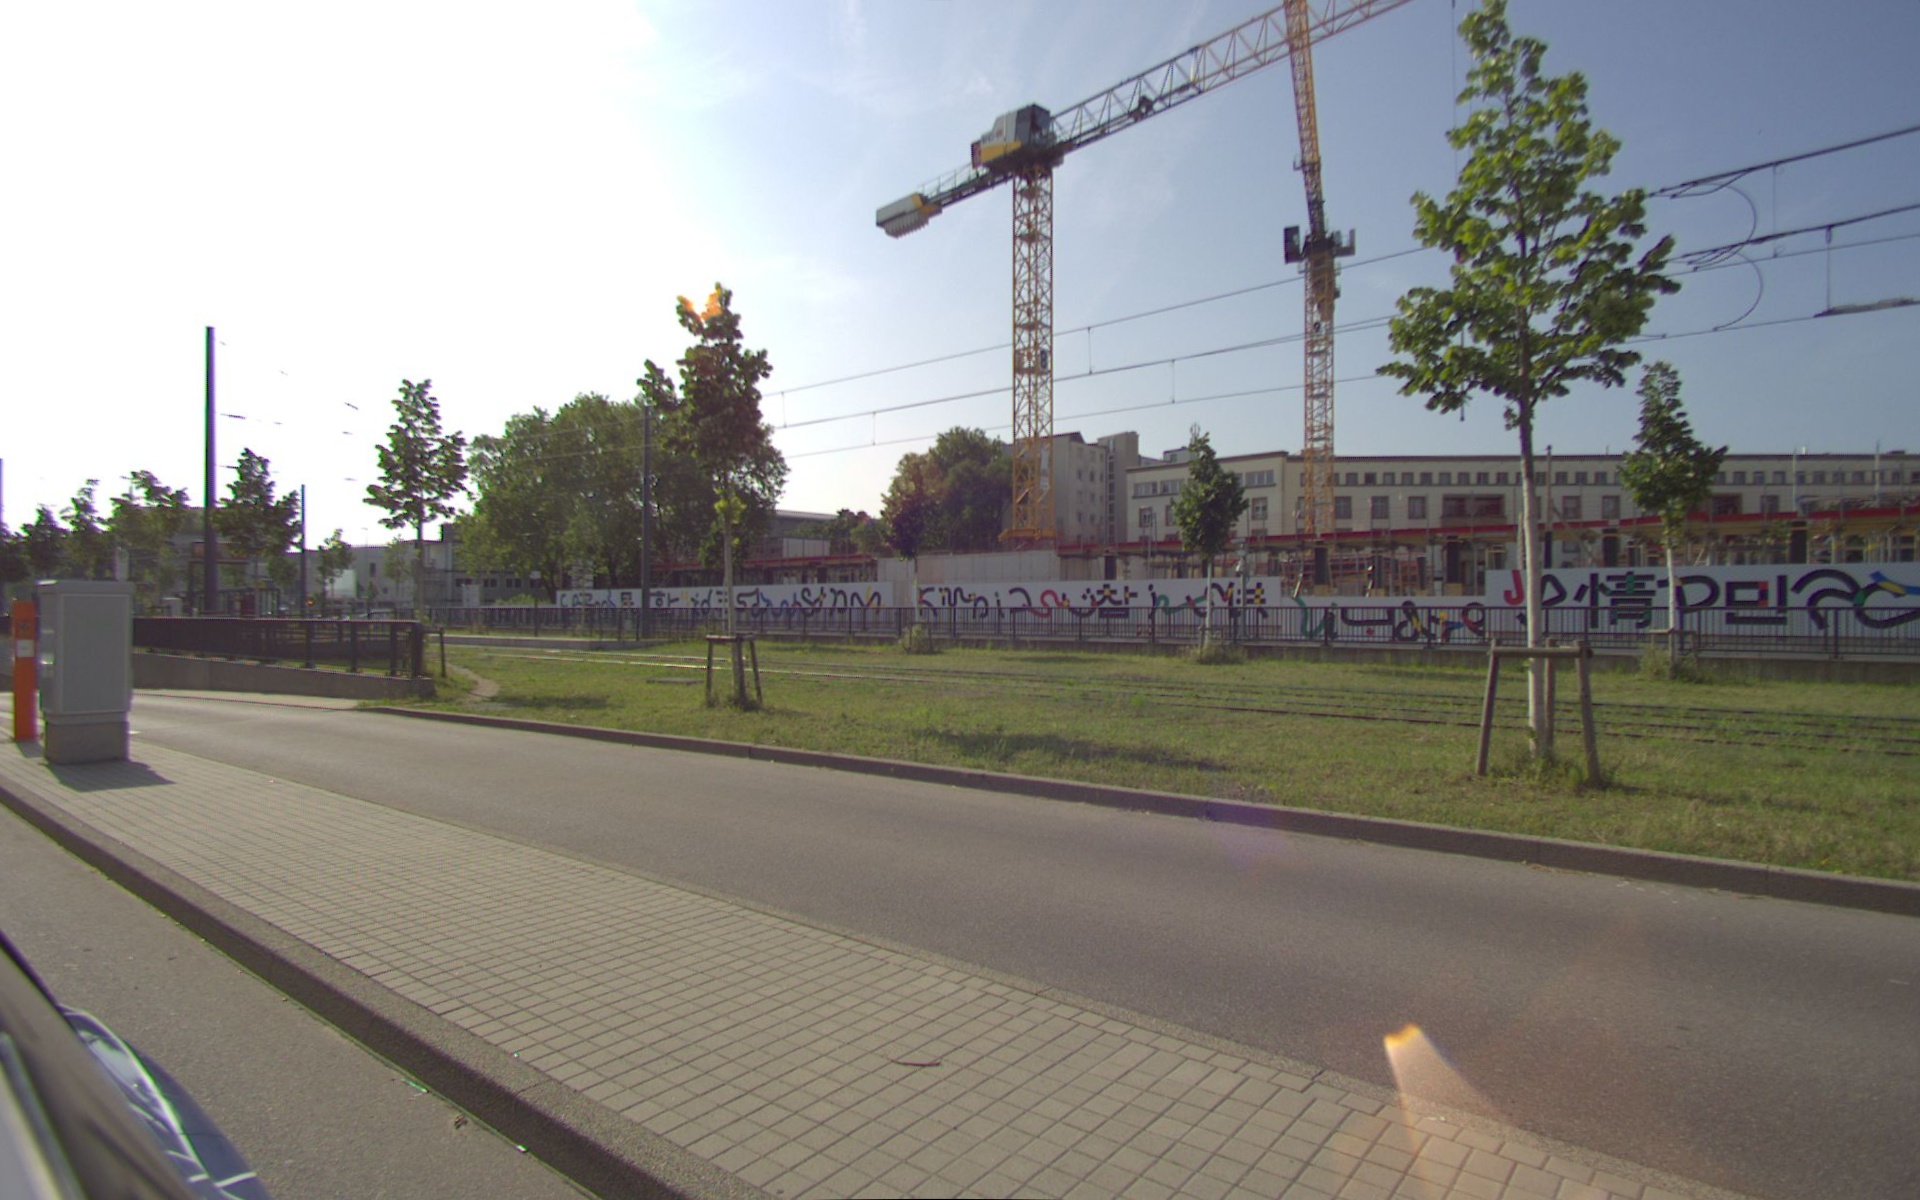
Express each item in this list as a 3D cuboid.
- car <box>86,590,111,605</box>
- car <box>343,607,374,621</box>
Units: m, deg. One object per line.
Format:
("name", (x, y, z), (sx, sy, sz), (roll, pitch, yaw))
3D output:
("car", (-114.679, -0.301, 134.760), (3.997, 2.029, 1.933), (-1, 0, 40))
("car", (-54.175, 1.292, 91.202), (2.957, 1.211, 1.486), (0, 0, 39))
